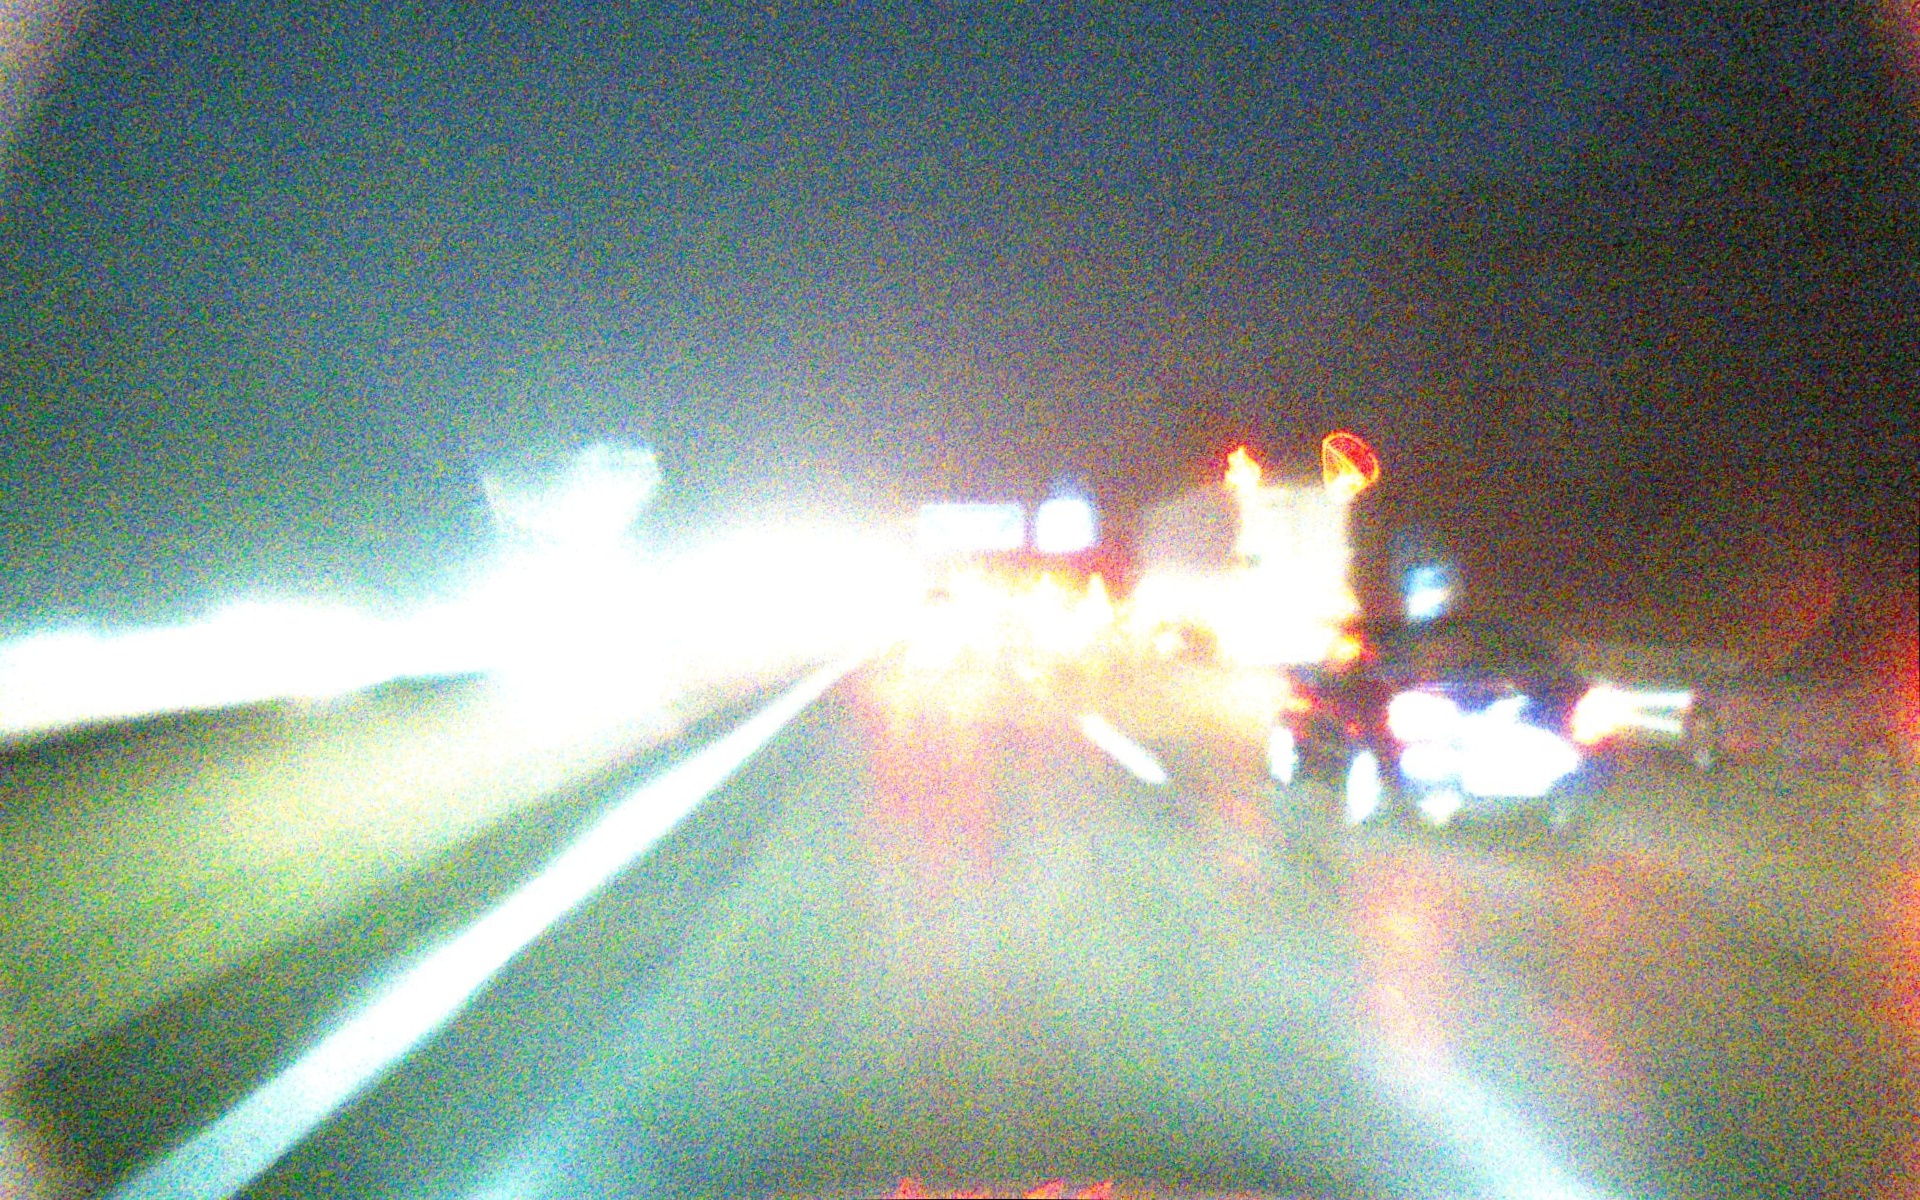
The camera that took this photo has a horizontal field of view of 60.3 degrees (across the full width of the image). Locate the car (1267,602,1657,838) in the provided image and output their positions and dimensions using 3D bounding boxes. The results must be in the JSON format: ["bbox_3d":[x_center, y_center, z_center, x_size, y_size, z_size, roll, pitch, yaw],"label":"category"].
[{"bbox_3d":[3.450,0.746,12.087,1.580,1.437,3.790,1,0,-2],"label":"car"}]

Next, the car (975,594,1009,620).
[{"bbox_3d":[2.076,0.454,107.213,2.093,1.646,4.000,1,0,0],"label":"car"}]

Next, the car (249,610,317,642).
[{"bbox_3d":[-33.069,1.248,80.887,1.826,1.497,4.349,1,0,-5],"label":"car"}]

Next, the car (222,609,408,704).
[{"bbox_3d":[-12.766,1.054,33.099,1.953,1.645,4.744,-1,1,-2],"label":"car"}]

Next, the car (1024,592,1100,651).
[{"bbox_3d":[2.889,0.587,47.449,1.846,1.616,3.999,1,0,-1],"label":"car"}]

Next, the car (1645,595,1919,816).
[{"bbox_3d":[7.551,0.749,13.307,1.856,1.512,4.960,1,1,-2],"label":"car"}]

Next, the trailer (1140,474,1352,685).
[{"bbox_3d":[6.518,-0.431,39.928,2.747,4.286,12.093,1,0,-1],"label":"trailer"}]

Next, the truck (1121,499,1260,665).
[{"bbox_3d":[6.403,-0.479,47.116,2.747,4.341,7.446,1,0,-1],"label":"truck"}]

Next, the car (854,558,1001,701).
[{"bbox_3d":[-0.725,0.515,33.725,2.655,2.578,5.828,-2,1,-3],"label":"car"}]

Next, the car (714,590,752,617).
[{"bbox_3d":[-14.325,0.228,104.597,1.823,1.609,4.512,1,0,-1],"label":"car"}]

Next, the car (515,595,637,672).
[{"bbox_3d":[-9.031,0.751,39.291,1.953,1.645,4.416,-1,1,-2],"label":"car"}]
